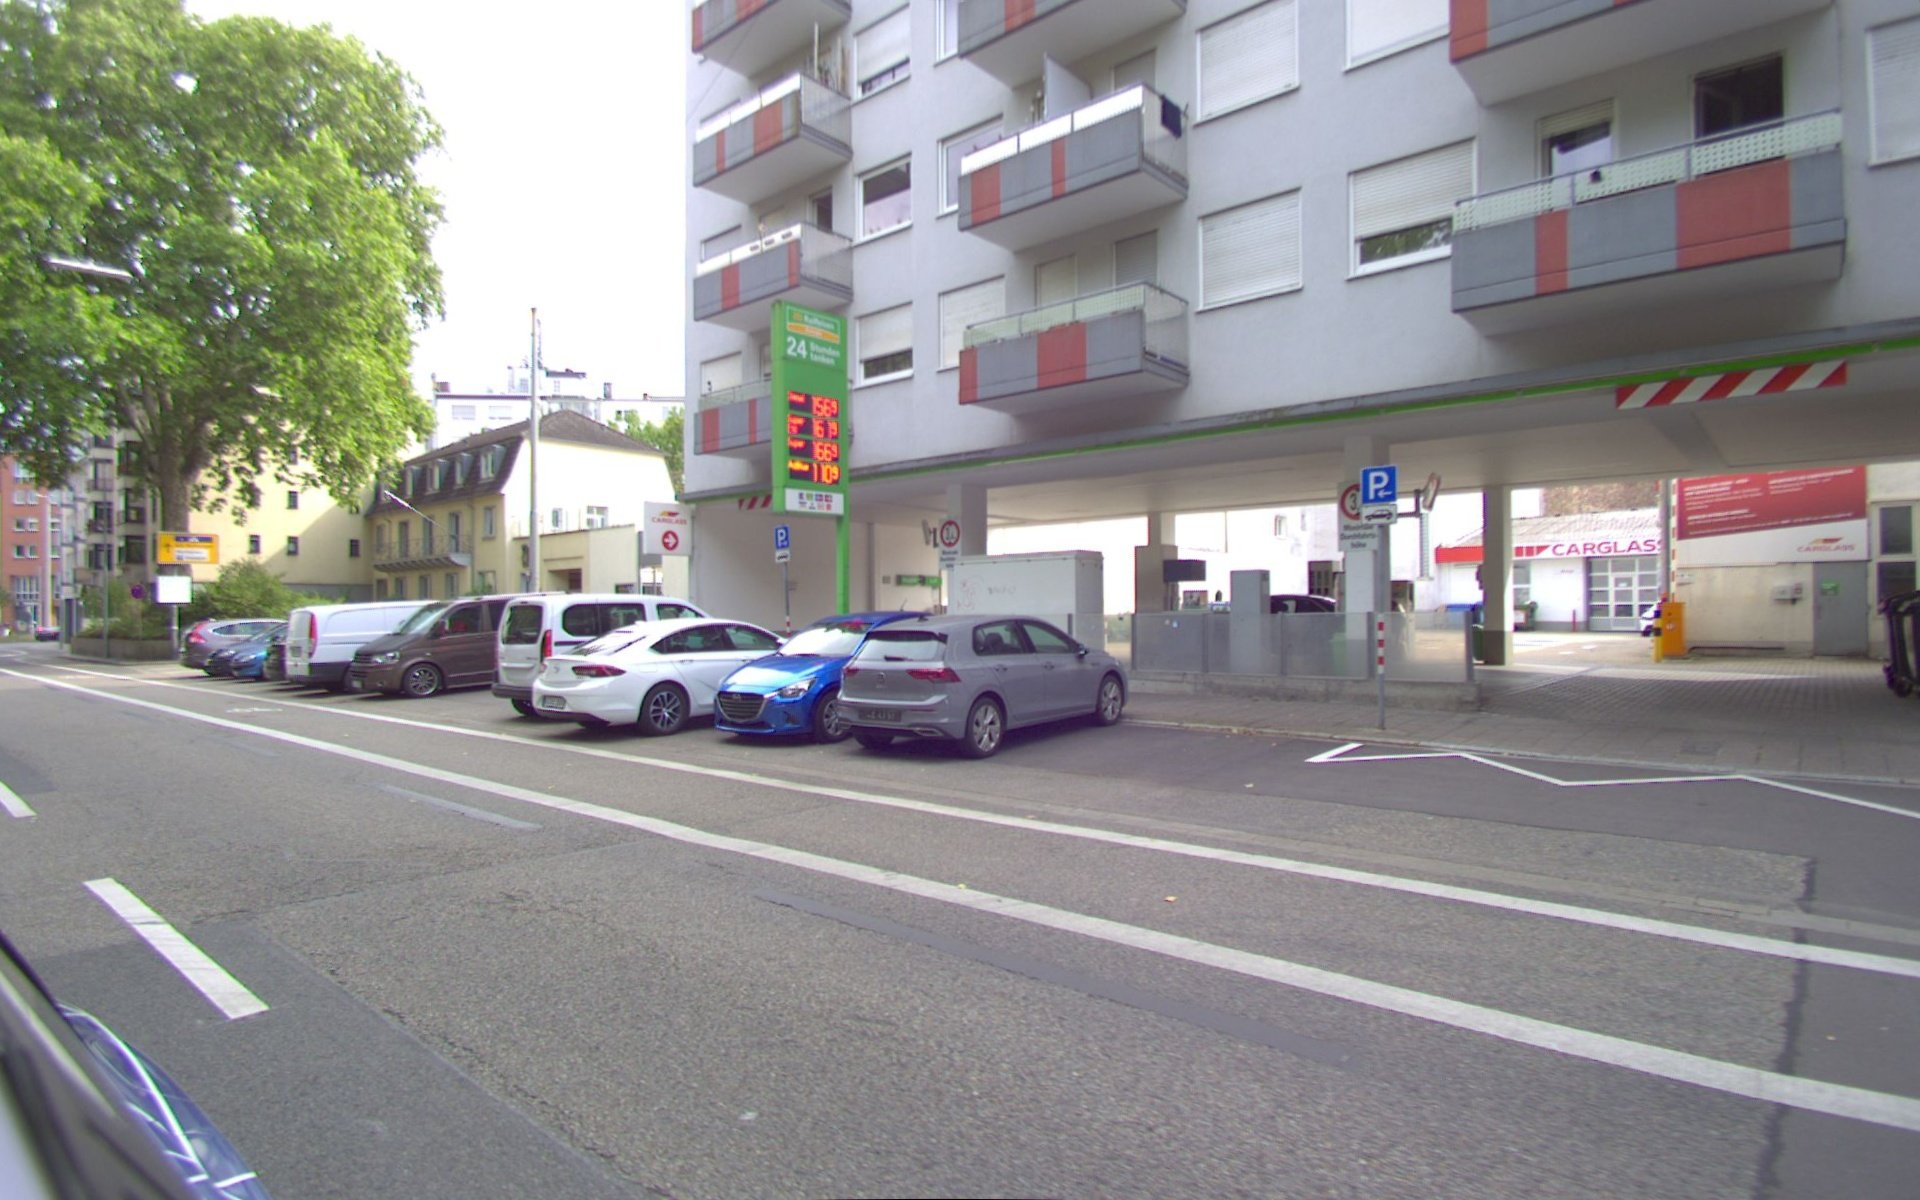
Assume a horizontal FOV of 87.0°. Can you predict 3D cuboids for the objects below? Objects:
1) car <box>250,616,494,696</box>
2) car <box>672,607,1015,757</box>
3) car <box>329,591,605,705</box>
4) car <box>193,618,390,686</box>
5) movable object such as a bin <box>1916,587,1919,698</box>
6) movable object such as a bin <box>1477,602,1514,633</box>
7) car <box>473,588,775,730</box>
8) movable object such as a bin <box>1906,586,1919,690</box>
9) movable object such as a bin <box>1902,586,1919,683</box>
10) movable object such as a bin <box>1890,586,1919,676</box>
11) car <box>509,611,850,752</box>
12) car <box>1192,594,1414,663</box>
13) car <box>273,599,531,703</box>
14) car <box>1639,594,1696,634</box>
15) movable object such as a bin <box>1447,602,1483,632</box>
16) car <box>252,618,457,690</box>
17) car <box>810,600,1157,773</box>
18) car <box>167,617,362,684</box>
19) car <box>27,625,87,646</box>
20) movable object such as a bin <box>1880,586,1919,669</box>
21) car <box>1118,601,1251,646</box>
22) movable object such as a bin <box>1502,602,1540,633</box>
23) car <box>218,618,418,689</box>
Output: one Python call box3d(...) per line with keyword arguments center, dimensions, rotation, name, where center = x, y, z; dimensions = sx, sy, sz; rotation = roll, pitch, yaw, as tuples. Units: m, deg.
box3d(center=(-13.921, 1.249, 24.189), dimensions=(1.873, 1.480, 4.656), rotation=(-2, 1, 42), name="car")
box3d(center=(-1.364, 0.925, 13.253), dimensions=(1.909, 1.462, 4.256), rotation=(-2, 1, 41), name="car")
box3d(center=(-10.131, 0.893, 21.090), dimensions=(1.993, 1.948, 4.717), rotation=(-2, 1, 42), name="car")
box3d(center=(-18.814, 1.406, 28.647), dimensions=(1.732, 1.560, 4.316), rotation=(-2, 1, 42), name="car")
box3d(center=(12.558, 0.511, 12.410), dimensions=(1.178, 1.362, 1.031), rotation=(-2, -2, 44), name="movable object such as a bin")
box3d(center=(26.028, 0.844, 49.219), dimensions=(1.229, 1.454, 1.167), rotation=(0, -1, -38), name="movable object such as a bin")
box3d(center=(-5.267, 0.824, 16.278), dimensions=(1.923, 1.861, 4.167), rotation=(-2, 1, 41), name="car")
box3d(center=(13.364, 0.497, 13.407), dimensions=(1.178, 1.362, 1.031), rotation=(-2, -2, 44), name="movable object such as a bin")
box3d(center=(14.152, 0.486, 14.312), dimensions=(1.178, 1.362, 1.031), rotation=(-2, -2, 44), name="movable object such as a bin")
box3d(center=(15.088, 0.473, 15.516), dimensions=(1.178, 1.362, 1.031), rotation=(-2, -2, 44), name="movable object such as a bin")
box3d(center=(-3.742, 0.998, 14.096), dimensions=(1.873, 1.462, 4.227), rotation=(-2, 1, 41), name="car")
box3d(center=(7.112, 0.586, 21.172), dimensions=(3.997, 1.308, 1.888), rotation=(-1, -1, 41), name="car")
box3d(center=(-12.231, 1.029, 22.424), dimensions=(1.949, 1.873, 4.567), rotation=(-2, 1, 42), name="car")
box3d(center=(27.703, 0.562, 39.594), dimensions=(1.729, 1.479, 3.884), rotation=(-1, -1, 36), name="car")
box3d(center=(25.147, 0.857, 50.349), dimensions=(1.229, 1.454, 1.167), rotation=(0, -1, -38), name="movable object such as a bin")
box3d(center=(-15.395, 1.320, 25.899), dimensions=(1.719, 1.462, 4.148), rotation=(-2, 1, 42), name="car")
box3d(center=(0.435, 0.850, 11.872), dimensions=(1.836, 1.525, 4.108), rotation=(-2, 1, 41), name="car")
box3d(center=(-20.601, 1.439, 30.117), dimensions=(1.753, 1.618, 4.471), rotation=(-2, 1, 42), name="car")
box3d(center=(-79.226, 3.099, 88.849), dimensions=(1.940, 1.683, 4.562), rotation=(-1, 0, -12), name="car")
box3d(center=(16.210, 0.457, 16.914), dimensions=(1.178, 1.362, 1.031), rotation=(-2, -2, 44), name="movable object such as a bin")
box3d(center=(8.072, 0.846, 36.610), dimensions=(4.365, 1.533, 1.820), rotation=(-2, -1, 41), name="car")
box3d(center=(26.735, 0.833, 48.238), dimensions=(1.229, 1.454, 1.167), rotation=(0, -1, -38), name="movable object such as a bin")
box3d(center=(-17.194, 1.375, 27.267), dimensions=(1.719, 1.522, 4.220), rotation=(-2, 1, 42), name="car")
